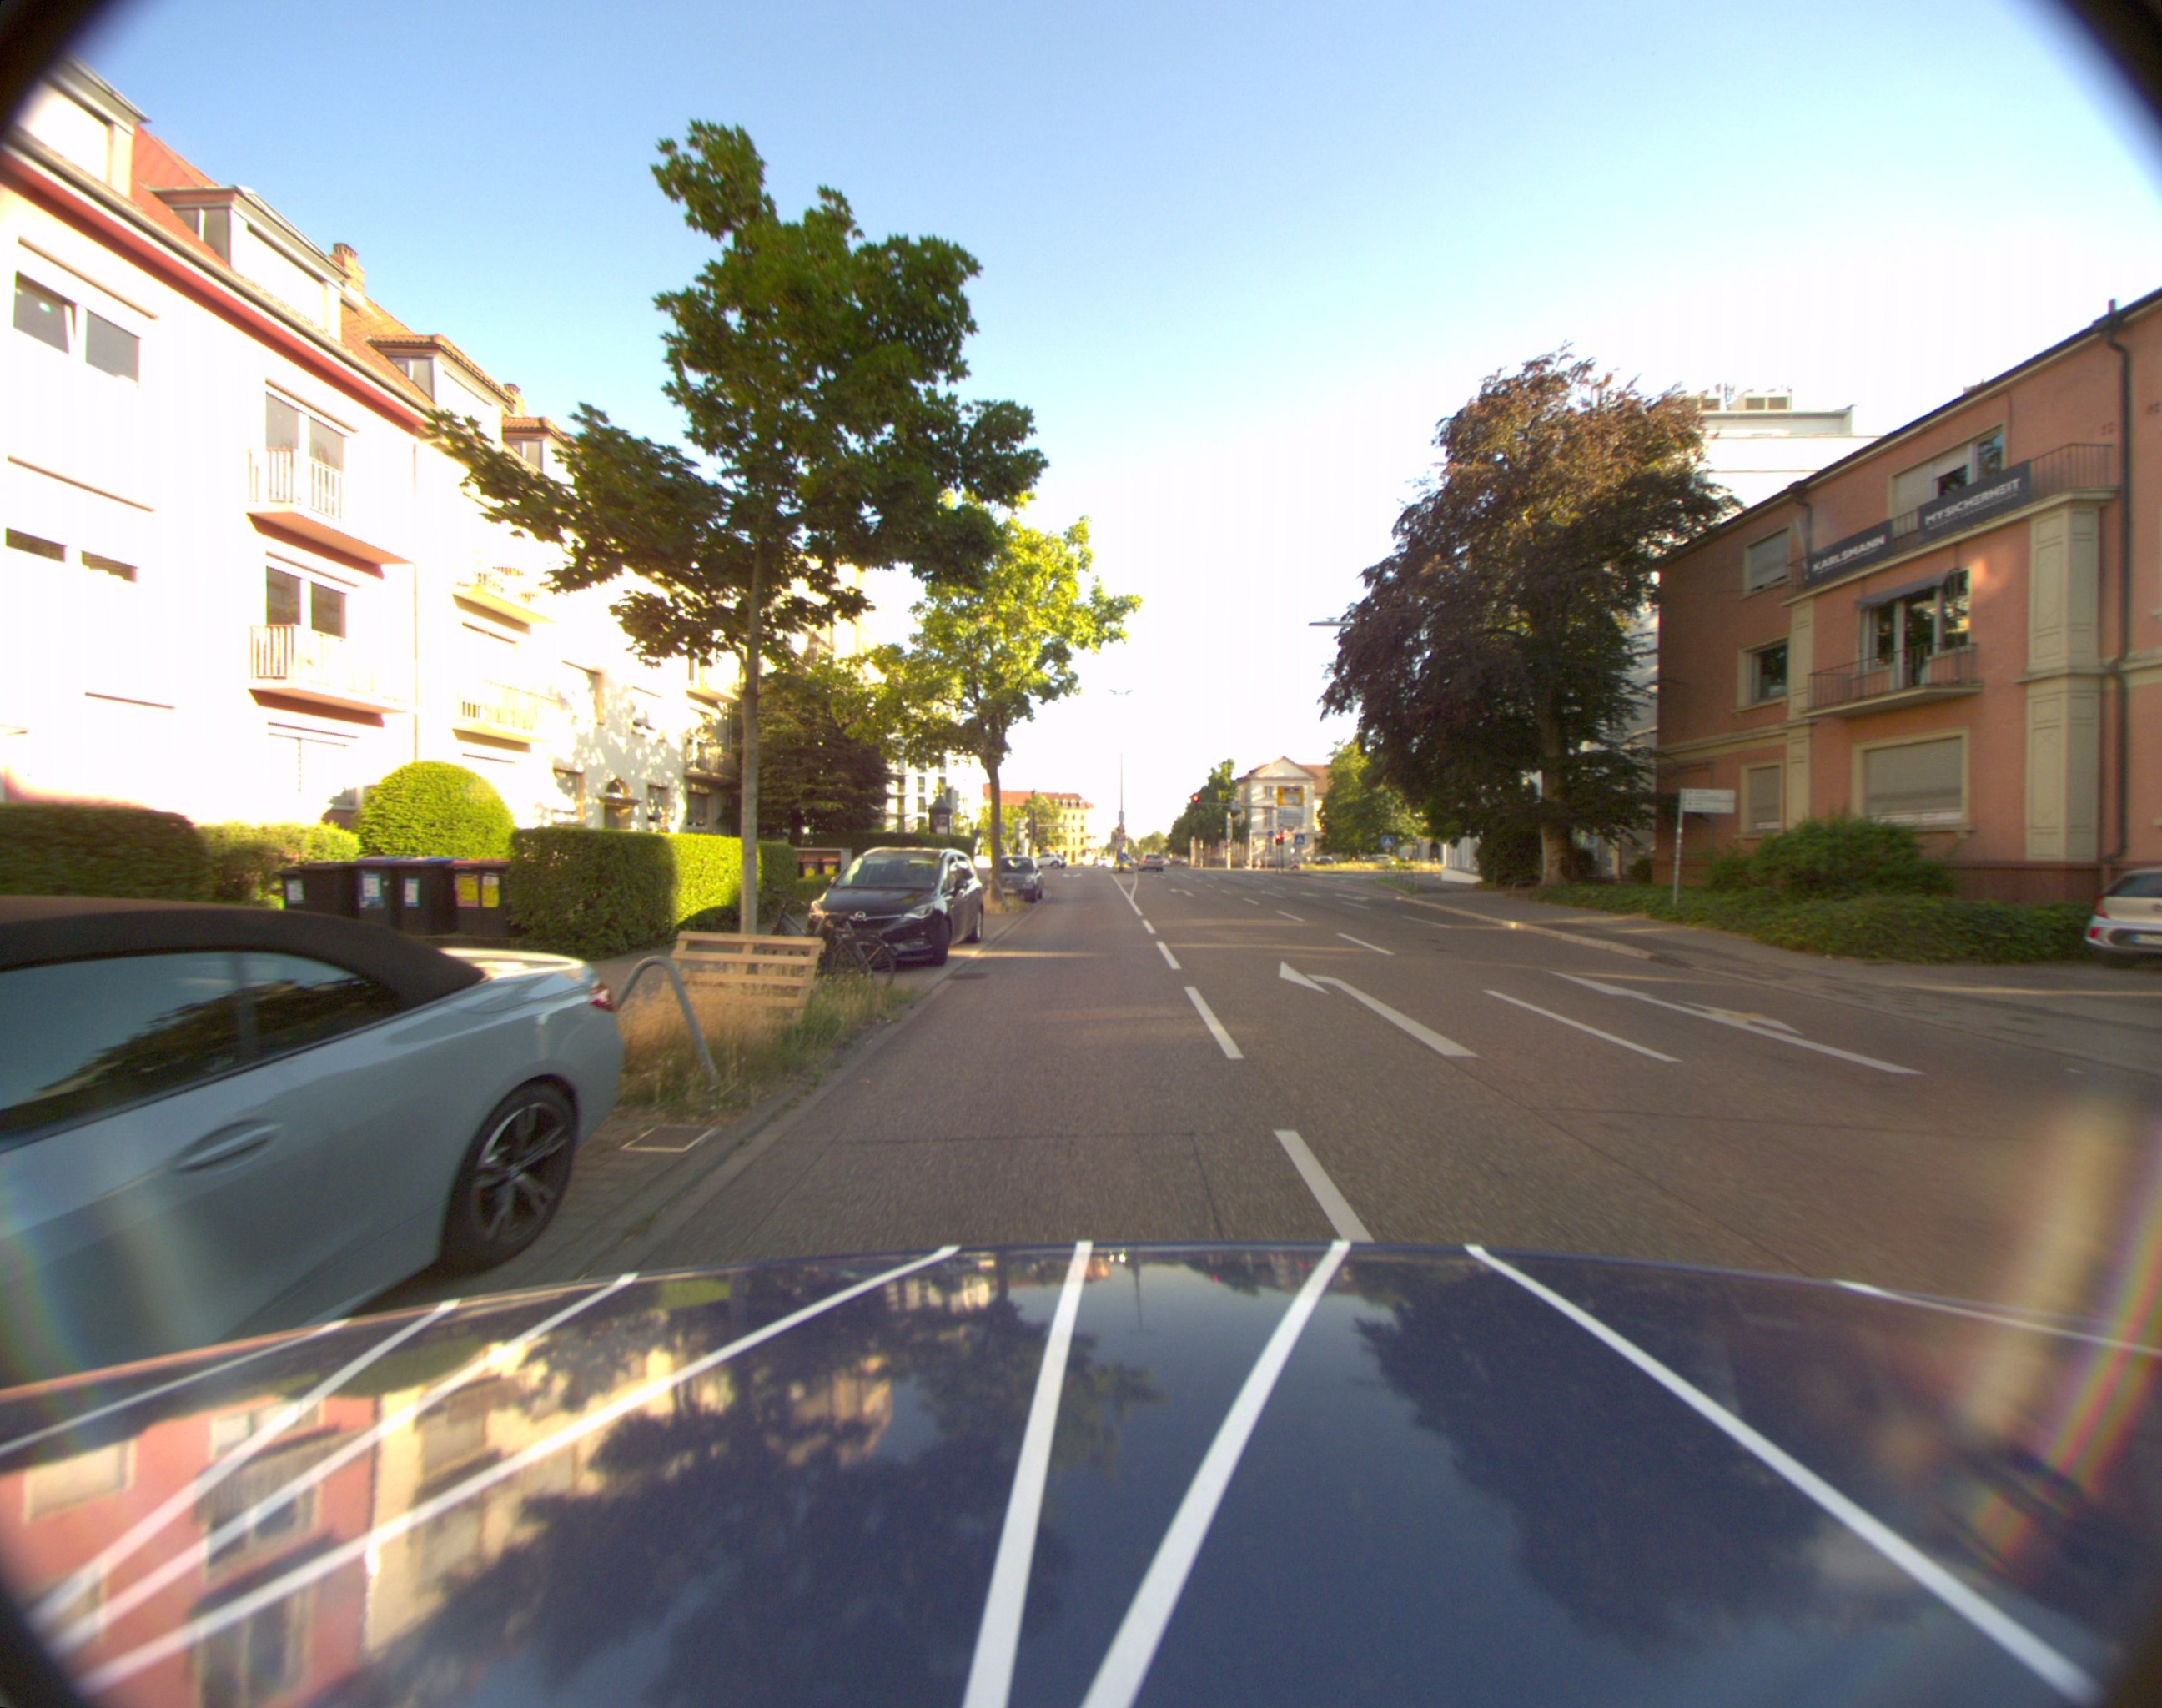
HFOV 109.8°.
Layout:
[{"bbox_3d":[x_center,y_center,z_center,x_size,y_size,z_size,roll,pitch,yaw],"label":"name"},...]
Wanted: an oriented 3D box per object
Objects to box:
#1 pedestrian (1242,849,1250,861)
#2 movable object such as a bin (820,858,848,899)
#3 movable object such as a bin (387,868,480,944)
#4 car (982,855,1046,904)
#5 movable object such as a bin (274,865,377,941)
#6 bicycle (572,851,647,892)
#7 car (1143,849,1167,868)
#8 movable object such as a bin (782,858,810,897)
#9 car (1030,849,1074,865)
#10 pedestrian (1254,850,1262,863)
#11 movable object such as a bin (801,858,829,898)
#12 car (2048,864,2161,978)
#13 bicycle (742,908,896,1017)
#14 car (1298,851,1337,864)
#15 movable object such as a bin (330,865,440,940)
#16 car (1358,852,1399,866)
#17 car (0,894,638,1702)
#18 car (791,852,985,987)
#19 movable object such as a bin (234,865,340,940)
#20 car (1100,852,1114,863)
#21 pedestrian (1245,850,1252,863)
[{"bbox_3d":[21.930,0.136,100.967,0.678,1.698,1.084,0,0,-7],"label":"pedestrian"},{"bbox_3d":[-7.667,0.751,23.606,0.554,1.232,0.828,0,0,1],"label":"movable object such as a bin"},{"bbox_3d":[-8.923,0.702,10.495,0.583,0.996,0.796,0,0,1],"label":"movable object such as a bin"},{"bbox_3d":[-2.173,0.793,25.579,1.736,1.542,3.646,0,0,2],"label":"car"},{"bbox_3d":[-10.322,0.650,10.408,0.612,0.996,0.796,0,0,1],"label":"movable object such as a bin"},{"bbox_3d":[-12.406,0.451,20.007,1.652,1.050,0.426,0,0,-3],"label":"bicycle"},{"bbox_3d":[6.067,0.389,62.569,1.831,1.505,4.606,0,0,4],"label":"car"},{"bbox_3d":[-8.885,0.732,23.697,0.554,1.195,0.828,0,0,1],"label":"movable object such as a bin"},{"bbox_3d":[-2.815,0.277,73.829,3.892,1.452,1.837,0,0,23],"label":"car"},{"bbox_3d":[22.393,0.326,96.189,0.678,1.641,0.882,0,0,-7],"label":"pedestrian"},{"bbox_3d":[-8.280,0.741,23.667,0.554,1.214,0.828,0,0,1],"label":"movable object such as a bin"},{"bbox_3d":[15.773,0.876,10.152,3.507,1.477,1.815,0,0,-2],"label":"car"},{"bbox_3d":[-2.709,1.112,7.959,1.482,1.053,0.411,0,0,-11],"label":"bicycle"},{"bbox_3d":[25.872,0.368,83.273,3.645,1.437,1.999,0,0,-3],"label":"car"},{"bbox_3d":[-9.598,0.651,10.511,0.778,0.996,0.796,0,0,1],"label":"movable object such as a bin"},{"bbox_3d":[32.892,0.543,84.055,3.645,1.437,1.999,0,0,-3],"label":"car"},{"bbox_3d":[-3.089,0.932,1.364,1.925,1.477,4.745,0,0,-2],"label":"car"},{"bbox_3d":[-2.639,0.807,11.458,1.736,1.641,4.291,0,0,2],"label":"car"},{"bbox_3d":[-10.978,0.650,10.532,0.612,0.996,0.796,0,0,1],"label":"movable object such as a bin"},{"bbox_3d":[3.463,0.490,101.978,1.764,1.490,3.708,0,0,1],"label":"car"},{"bbox_3d":[21.189,0.322,96.047,0.621,1.641,0.889,0,0,-7],"label":"pedestrian"}]
